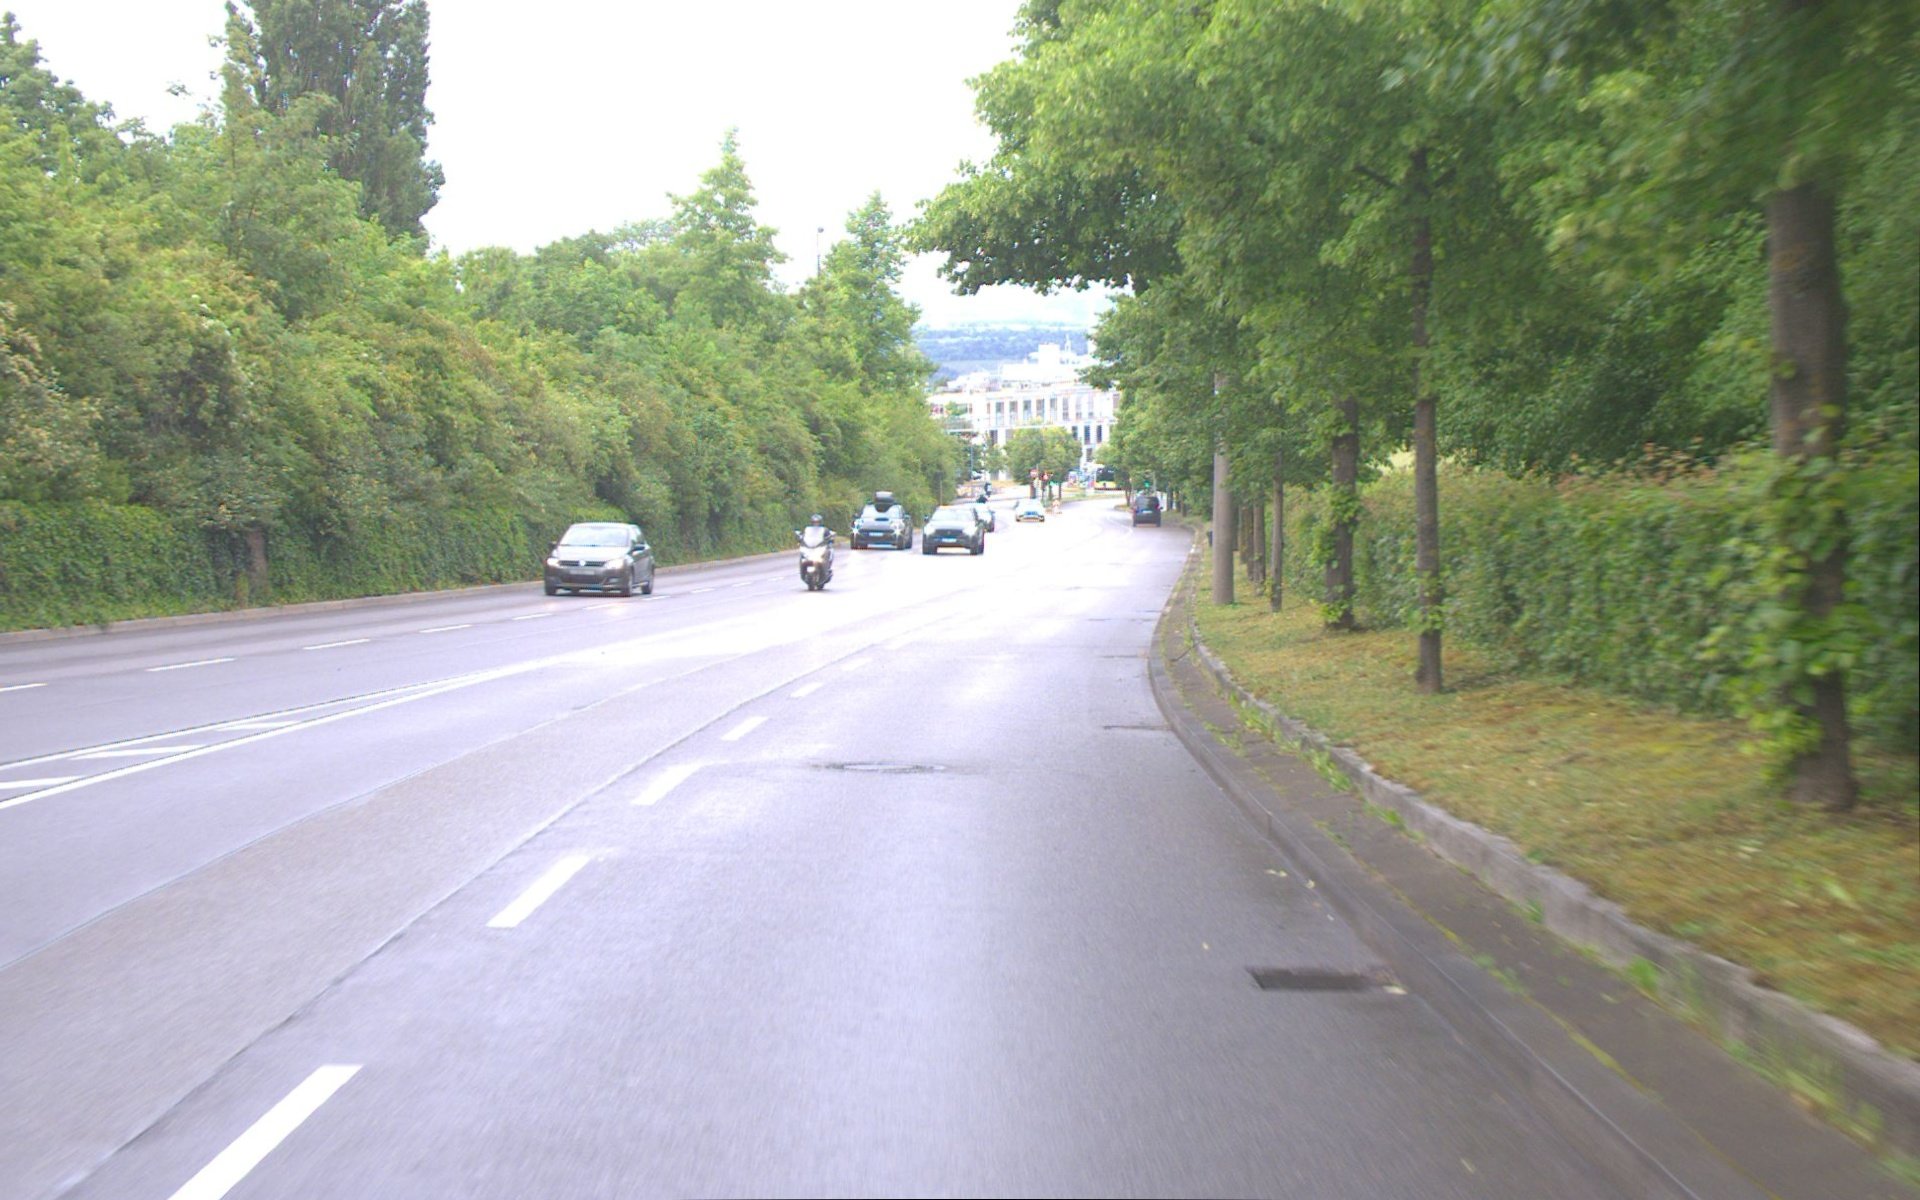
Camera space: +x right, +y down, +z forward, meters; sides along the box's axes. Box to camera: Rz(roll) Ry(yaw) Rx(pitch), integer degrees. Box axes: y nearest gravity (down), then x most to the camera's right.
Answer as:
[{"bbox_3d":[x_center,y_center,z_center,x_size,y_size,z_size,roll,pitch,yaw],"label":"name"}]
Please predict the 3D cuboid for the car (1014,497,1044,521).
[{"bbox_3d":[4.561,-5.990,226.708,1.715,1.499,4.516,2,2,4],"label":"car"}]

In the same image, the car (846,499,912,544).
[{"bbox_3d":[-2.939,-2.872,125.926,1.899,1.547,4.630,2,1,4],"label":"car"}]

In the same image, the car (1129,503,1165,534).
[{"bbox_3d":[10.967,-4.792,201.534,1.849,1.696,3.792,2,0,5],"label":"car"}]

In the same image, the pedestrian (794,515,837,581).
[{"bbox_3d":[-3.096,-1.128,73.873,0.791,1.379,0.974,2,1,3],"label":"pedestrian"}]

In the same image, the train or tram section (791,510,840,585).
[{"bbox_3d":[-3.095,-1.128,73.869,0.791,1.564,2.383,2,1,3],"label":"train or tram section"}]

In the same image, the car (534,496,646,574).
[{"bbox_3d":[-7.143,-1.252,66.658,1.549,1.432,3.696,1,1,3],"label":"car"}]

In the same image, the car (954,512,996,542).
[{"bbox_3d":[0.771,-3.691,173.067,1.760,1.376,4.838,2,2,4],"label":"car"}]

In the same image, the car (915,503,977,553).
[{"bbox_3d":[-0.482,-2.517,119.507,1.812,1.652,4.595,1,1,4],"label":"car"}]
